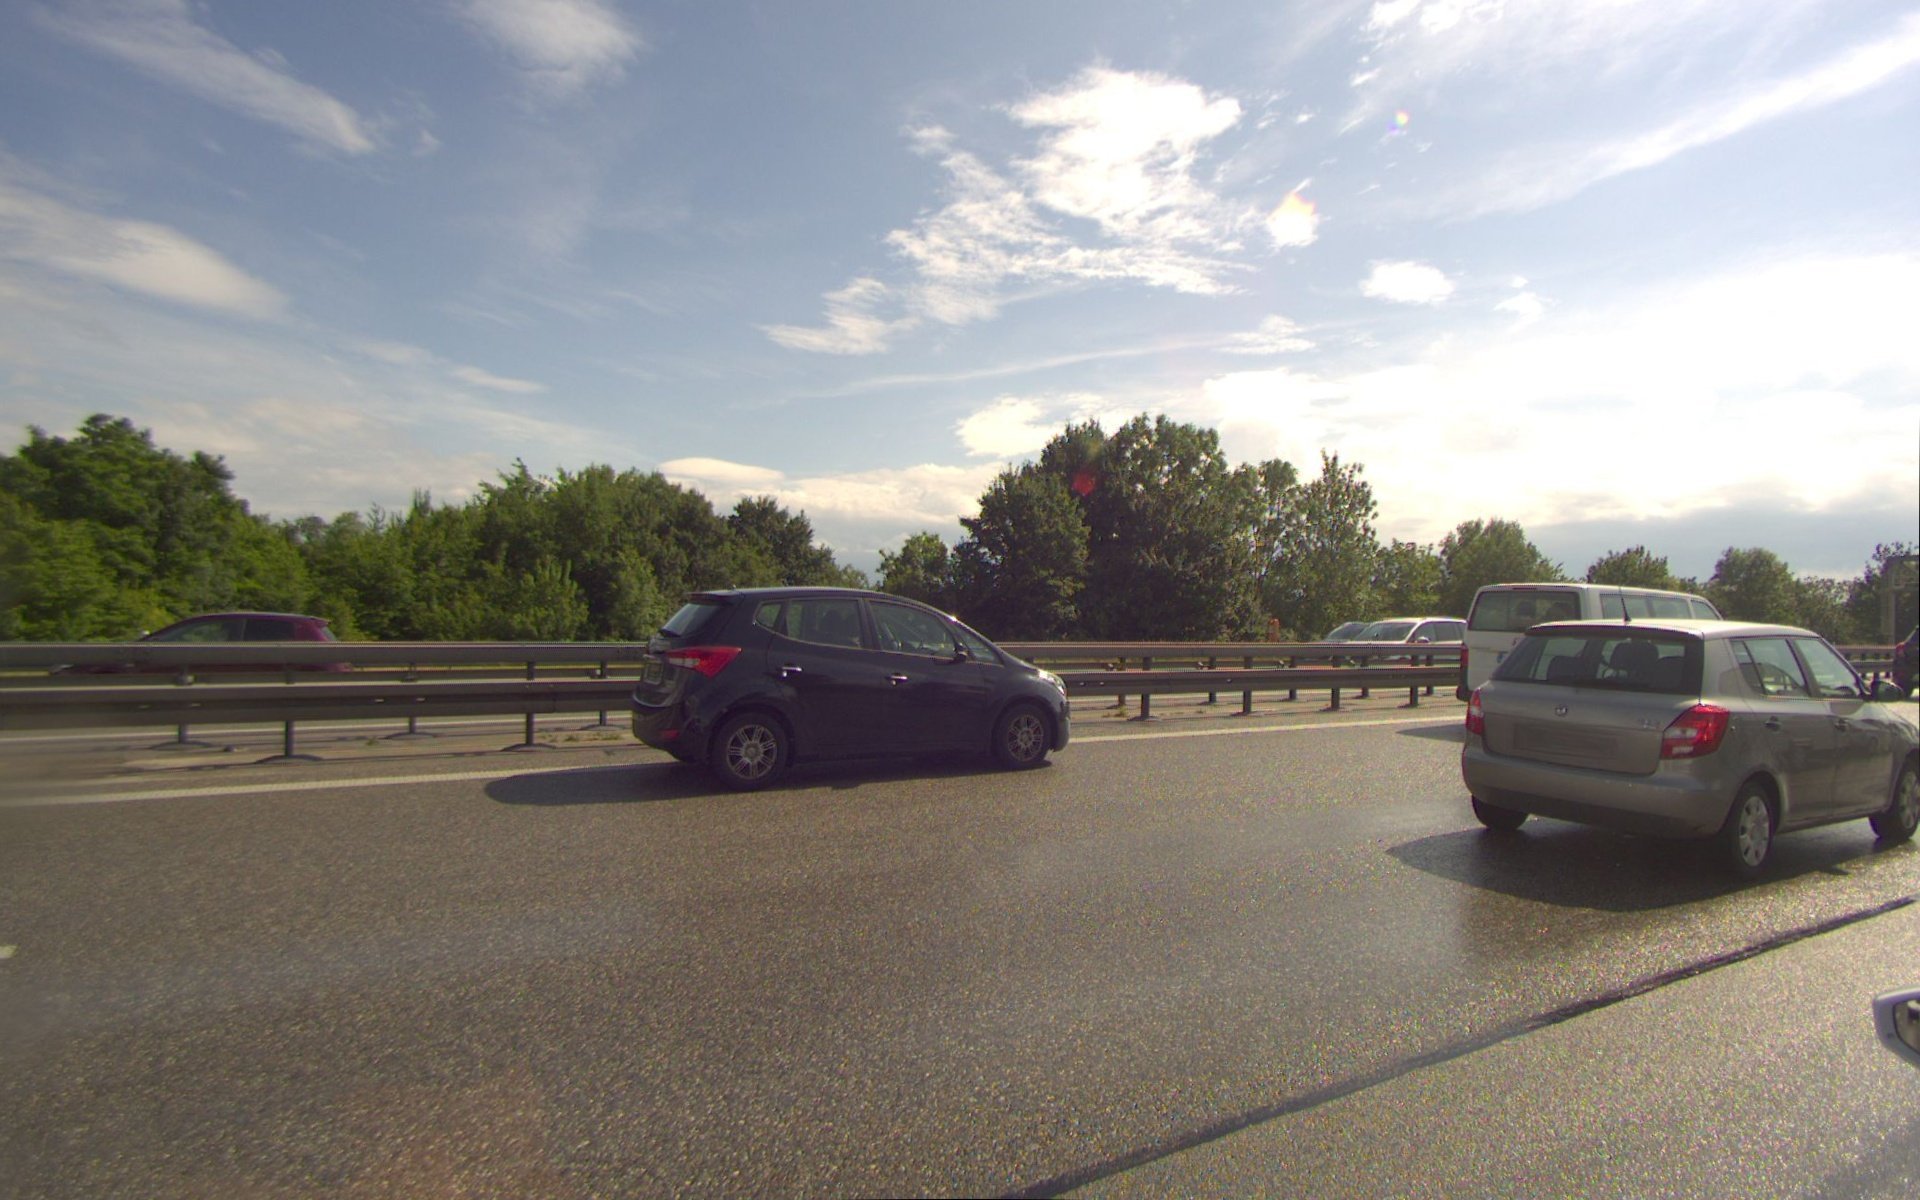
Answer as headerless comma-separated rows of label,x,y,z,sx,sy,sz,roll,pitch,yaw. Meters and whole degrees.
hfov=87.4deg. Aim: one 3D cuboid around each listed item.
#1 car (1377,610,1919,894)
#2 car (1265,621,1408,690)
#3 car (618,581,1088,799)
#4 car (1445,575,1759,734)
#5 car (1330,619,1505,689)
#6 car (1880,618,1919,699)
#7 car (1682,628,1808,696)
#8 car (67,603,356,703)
car,5.059,0.857,7.147,3.781,1.477,1.978,1,0,-30
car,11.180,1.610,29.817,3.956,1.862,1.982,1,0,-32
car,-0.919,0.697,9.155,3.872,1.599,1.774,1,0,-31
car,9.330,0.718,14.469,4.959,1.959,1.838,1,0,-32
car,11.029,1.261,24.200,3.955,1.506,1.983,1,0,-32
car,22.041,1.296,22.079,3.958,1.684,1.761,2,0,-33
car,25.388,1.960,32.455,3.956,2.017,1.982,1,0,-32
car,-11.438,0.781,15.659,3.401,1.372,1.680,1,0,-31
